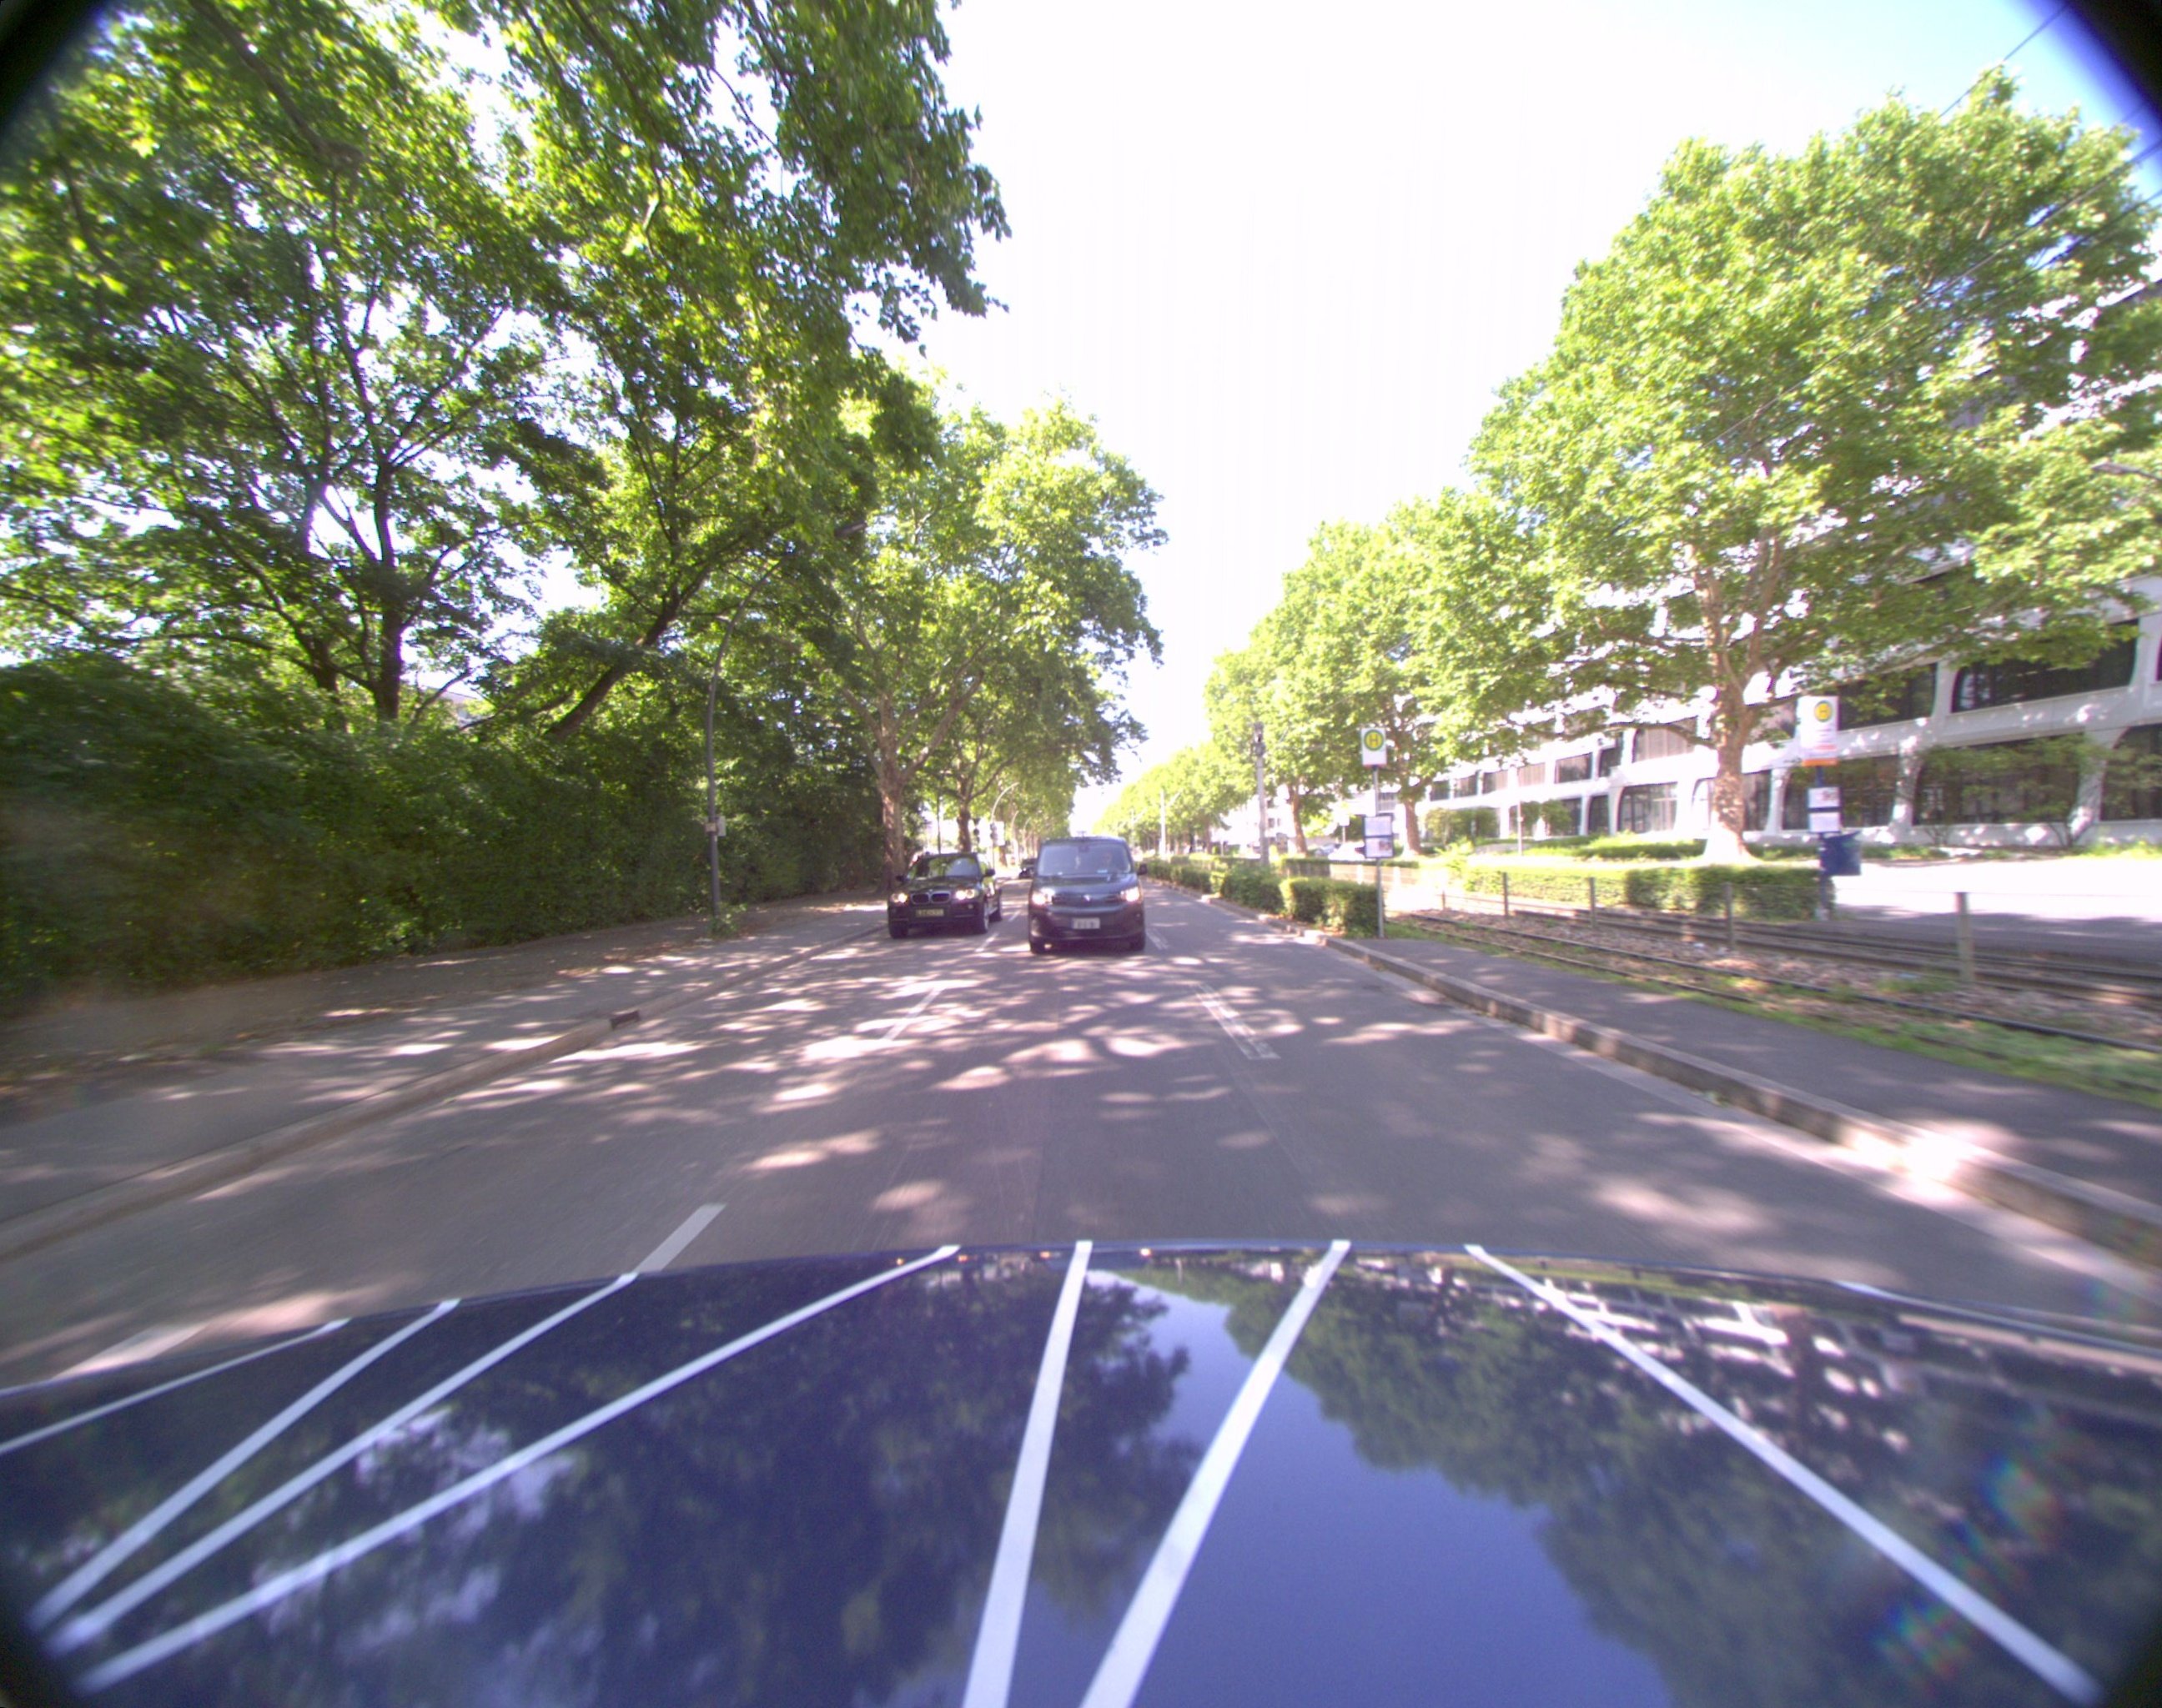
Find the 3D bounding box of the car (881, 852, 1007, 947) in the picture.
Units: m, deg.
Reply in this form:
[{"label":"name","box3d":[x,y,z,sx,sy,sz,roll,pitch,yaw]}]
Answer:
[{"label":"car","box3d":[-2.844,0.865,16.746,1.924,1.720,4.151,-3,1,0]}]

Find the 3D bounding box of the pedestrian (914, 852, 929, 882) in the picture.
[{"label":"pedestrian","box3d":[-9.633,0.753,45.964,0.633,1.775,0.874,-3,1,0]}]

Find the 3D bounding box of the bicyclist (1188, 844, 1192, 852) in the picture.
[{"label":"bicyclist","box3d":[20.775,-1.086,144.646,0.656,1.526,0.641,-3,1,1]}]

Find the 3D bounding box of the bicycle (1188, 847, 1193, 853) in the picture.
[{"label":"bicycle","box3d":[20.799,-0.752,144.801,0.666,1.118,2.030,-3,1,1]}]

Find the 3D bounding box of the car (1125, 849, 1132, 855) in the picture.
[{"label":"car","box3d":[14.363,-0.675,227.809,1.761,1.560,4.018,-3,0,0]}]

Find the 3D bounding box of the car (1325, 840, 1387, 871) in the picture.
[{"label":"car","box3d":[15.252,0.050,42.391,1.815,1.554,4.304,-3,0,0]}]

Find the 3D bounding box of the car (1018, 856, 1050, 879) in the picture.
[{"label":"car","box3d":[-3.216,0.931,52.921,1.854,1.419,4.151,-3,0,1]}]

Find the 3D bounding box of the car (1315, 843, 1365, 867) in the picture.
[{"label":"car","box3d":[18.574,0.052,54.691,1.834,1.615,4.896,-3,0,0]}]

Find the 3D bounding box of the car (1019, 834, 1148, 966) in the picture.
[{"label":"car","box3d":[0.064,0.646,12.849,1.789,1.839,4.000,-2,1,1]}]

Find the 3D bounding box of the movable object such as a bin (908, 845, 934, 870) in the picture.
[{"label":"movable object such as a bin","box3d":[-21.300,0.486,101.289,2.376,3.054,5.984,-3,0,-3]}]

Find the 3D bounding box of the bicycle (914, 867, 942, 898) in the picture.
[{"label":"bicycle","box3d":[-5.912,1.086,29.447,0.653,1.123,1.945,-1,1,-1]}]

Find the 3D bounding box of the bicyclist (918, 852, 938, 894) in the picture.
[{"label":"bicyclist","box3d":[-5.921,0.719,29.422,0.621,1.591,0.732,-1,1,-2]}]
